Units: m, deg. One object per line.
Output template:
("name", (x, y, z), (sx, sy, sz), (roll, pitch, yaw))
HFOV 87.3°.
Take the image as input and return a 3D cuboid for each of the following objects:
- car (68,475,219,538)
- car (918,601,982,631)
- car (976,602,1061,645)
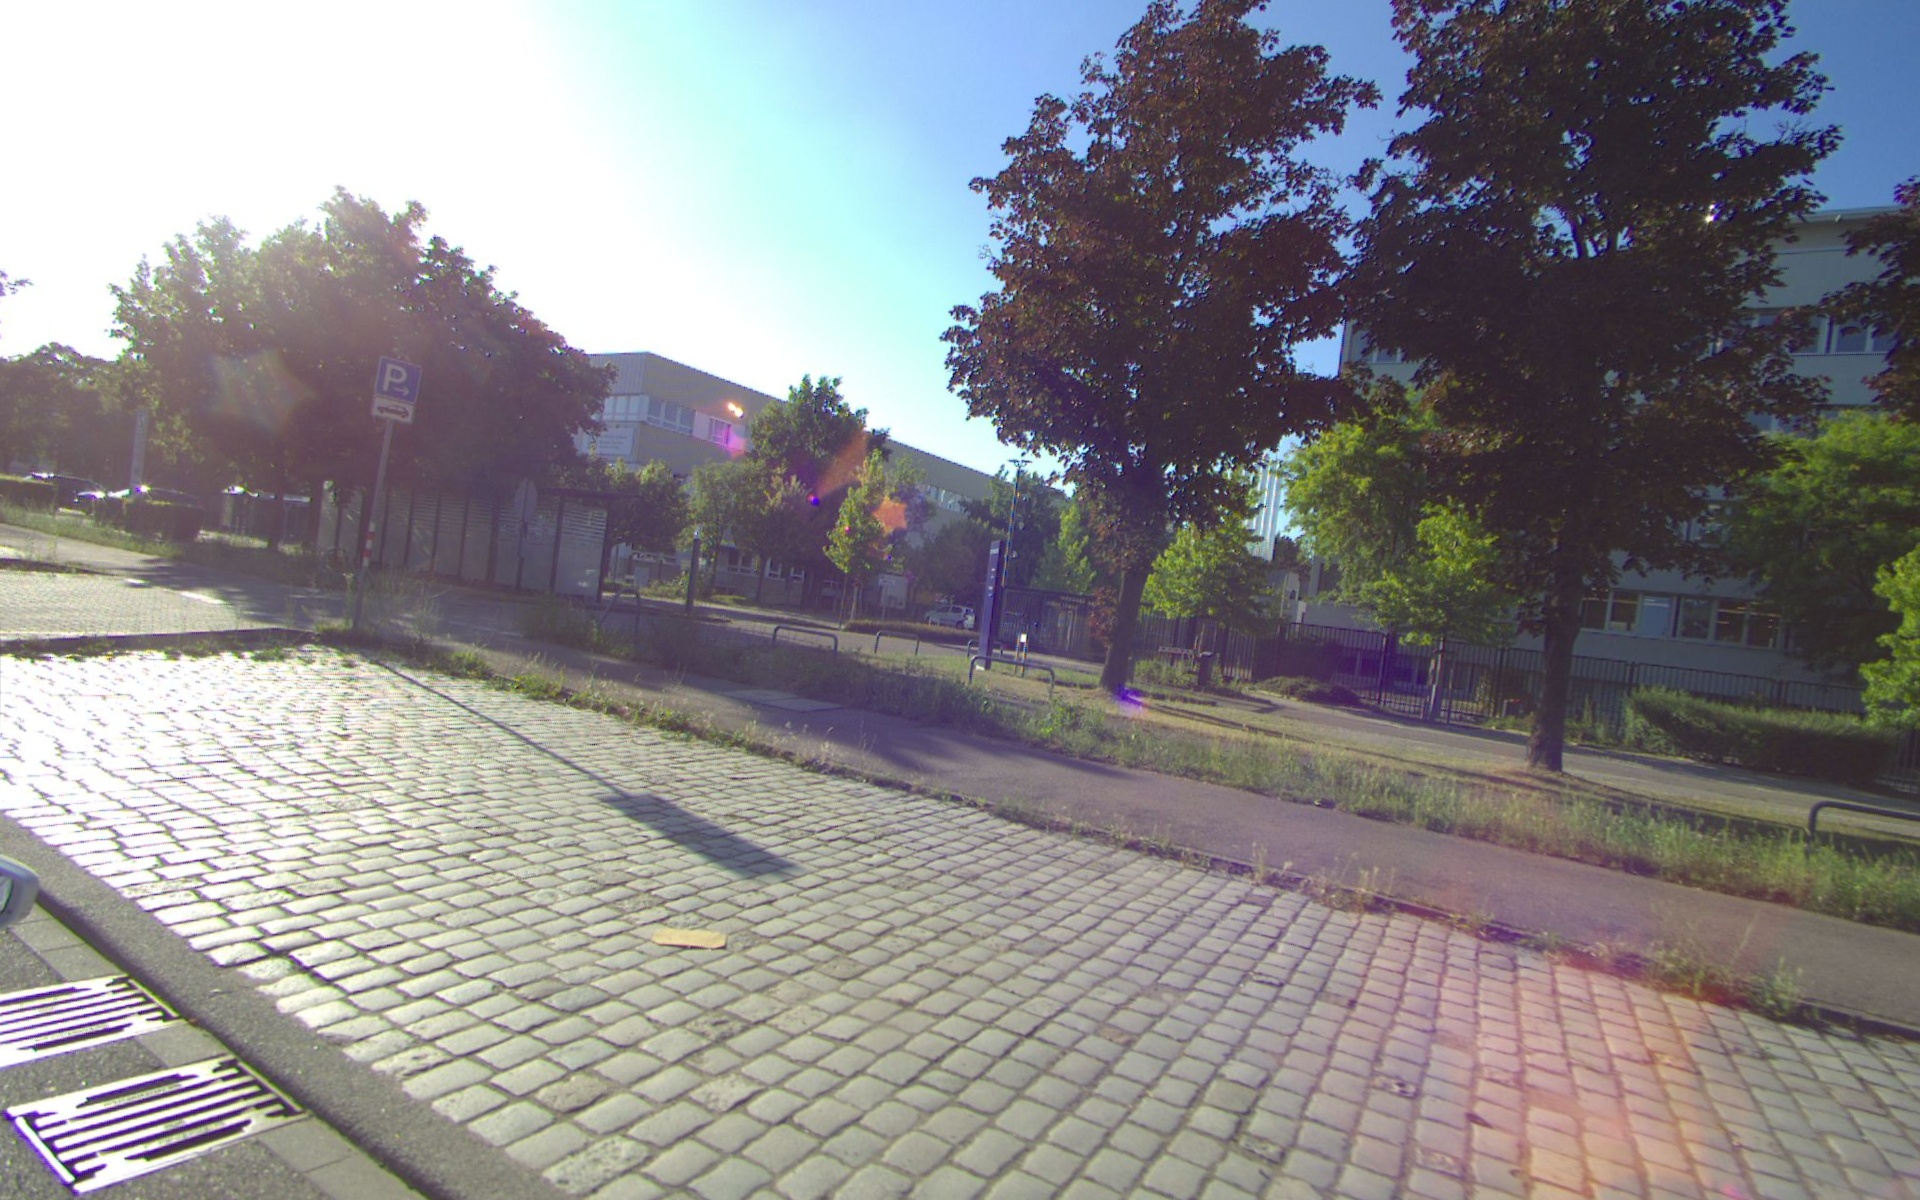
("car", (-34.739, -3.954, 42.913), (2.025, 1.725, 4.440), (8, -2, 31))
("car", (-0.670, 1.055, 66.180), (3.722, 1.415, 1.867), (8, 0, 32))
("car", (2.892, 1.165, 50.111), (3.763, 1.549, 1.619), (8, 1, 32))
